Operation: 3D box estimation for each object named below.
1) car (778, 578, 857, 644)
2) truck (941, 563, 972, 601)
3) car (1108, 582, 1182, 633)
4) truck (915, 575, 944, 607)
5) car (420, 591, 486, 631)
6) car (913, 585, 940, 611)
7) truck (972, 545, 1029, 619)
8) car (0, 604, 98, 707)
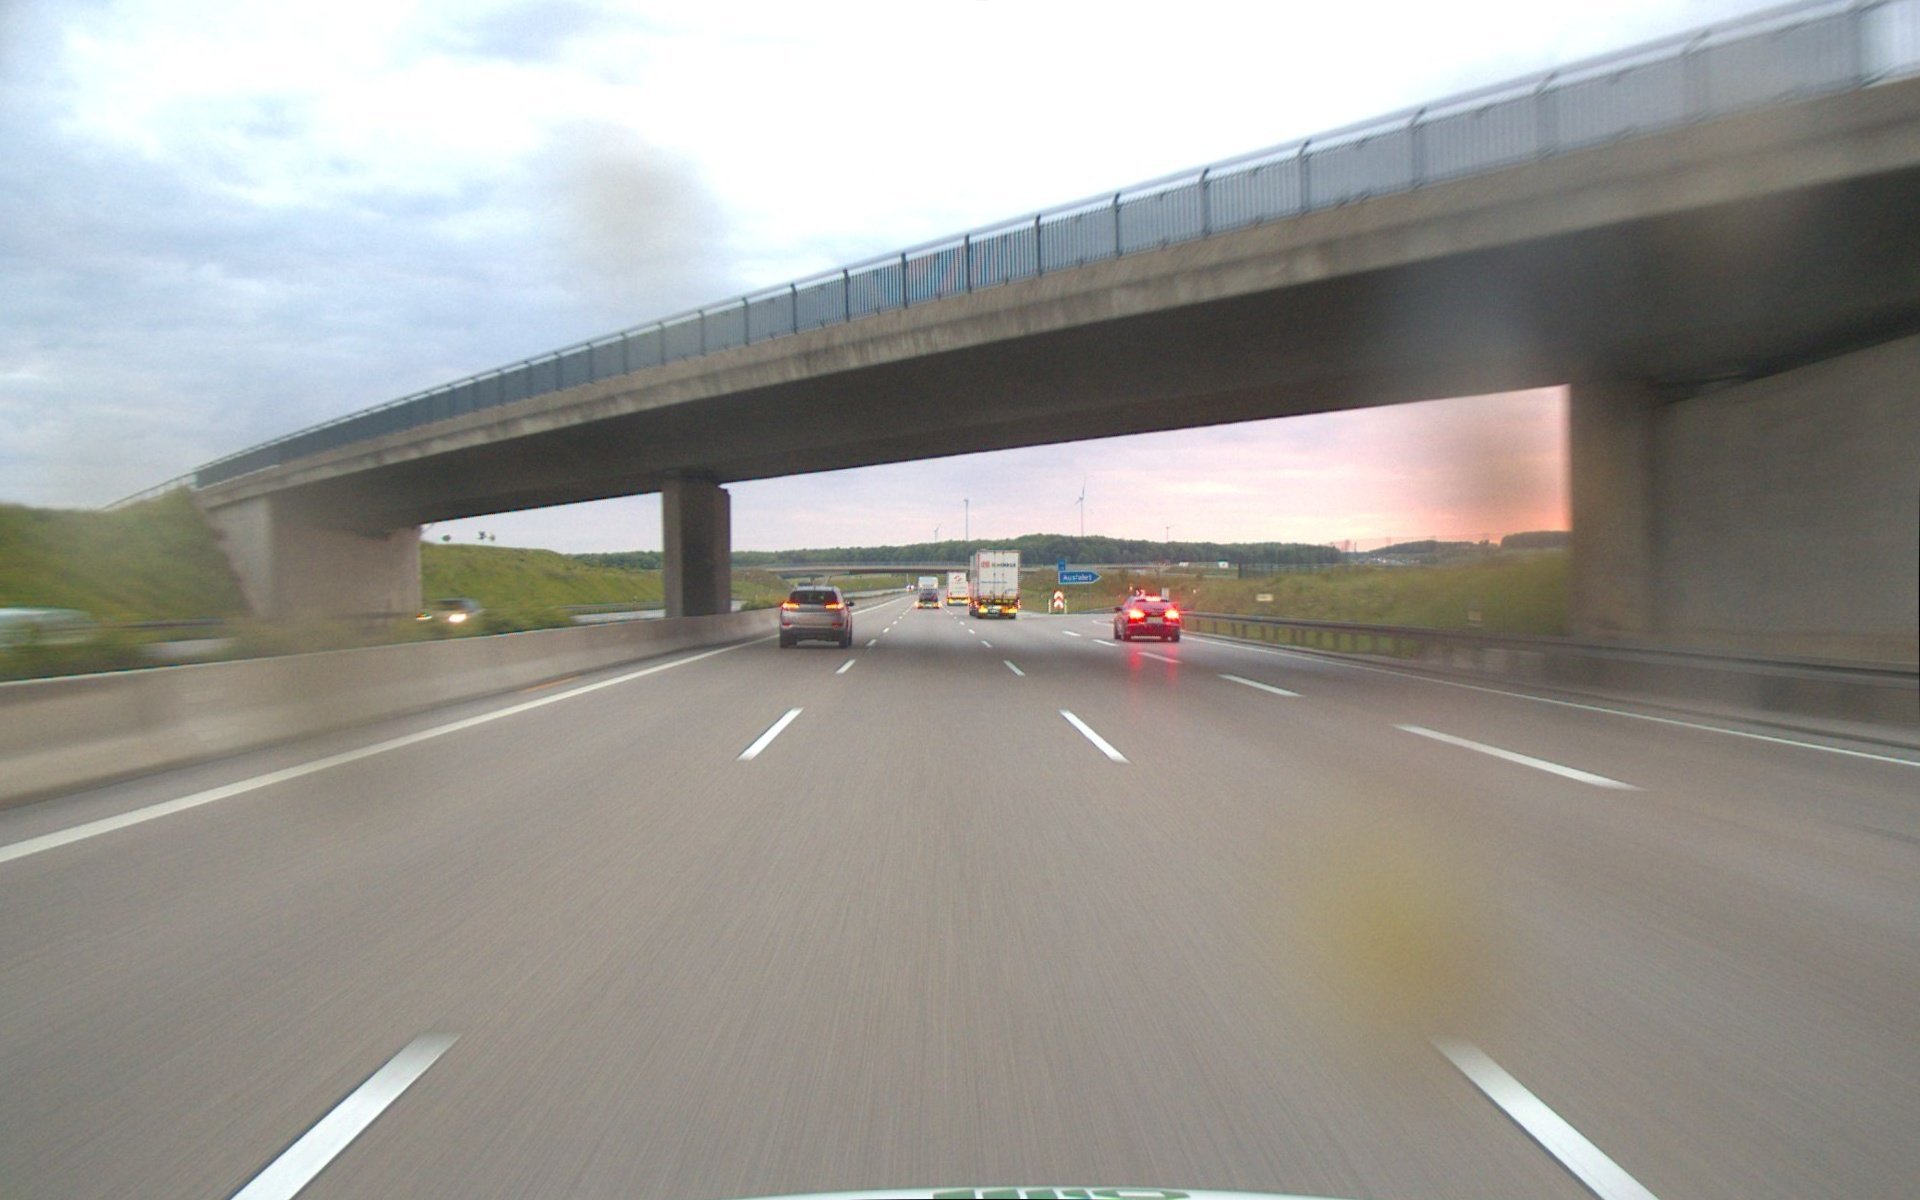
[{"bbox_3d":[-3.904,0.261,46.089,1.815,1.722,5.511,0,0,-1],"label":"car"},{"bbox_3d":[-0.453,-2.225,199.984,3.454,4.421,8.403,1,1,-2],"label":"truck"},{"bbox_3d":[6.056,0.231,54.657,1.879,1.607,3.999,0,0,-2],"label":"car"},{"bbox_3d":[-3.288,-0.971,175.289,2.892,3.273,8.403,1,1,-2],"label":"truck"},{"bbox_3d":[-19.802,0.398,64.711,1.532,1.497,3.934,0,0,-3],"label":"car"},{"bbox_3d":[-3.259,-0.234,158.911,2.466,2.433,6.494,0,0,-2],"label":"car"},{"bbox_3d":[2.418,-1.111,102.056,3.168,4.301,9.598,1,1,-1],"label":"truck"},{"bbox_3d":[-15.406,0.860,26.035,1.491,1.533,4.408,0,0,-2],"label":"car"}]
